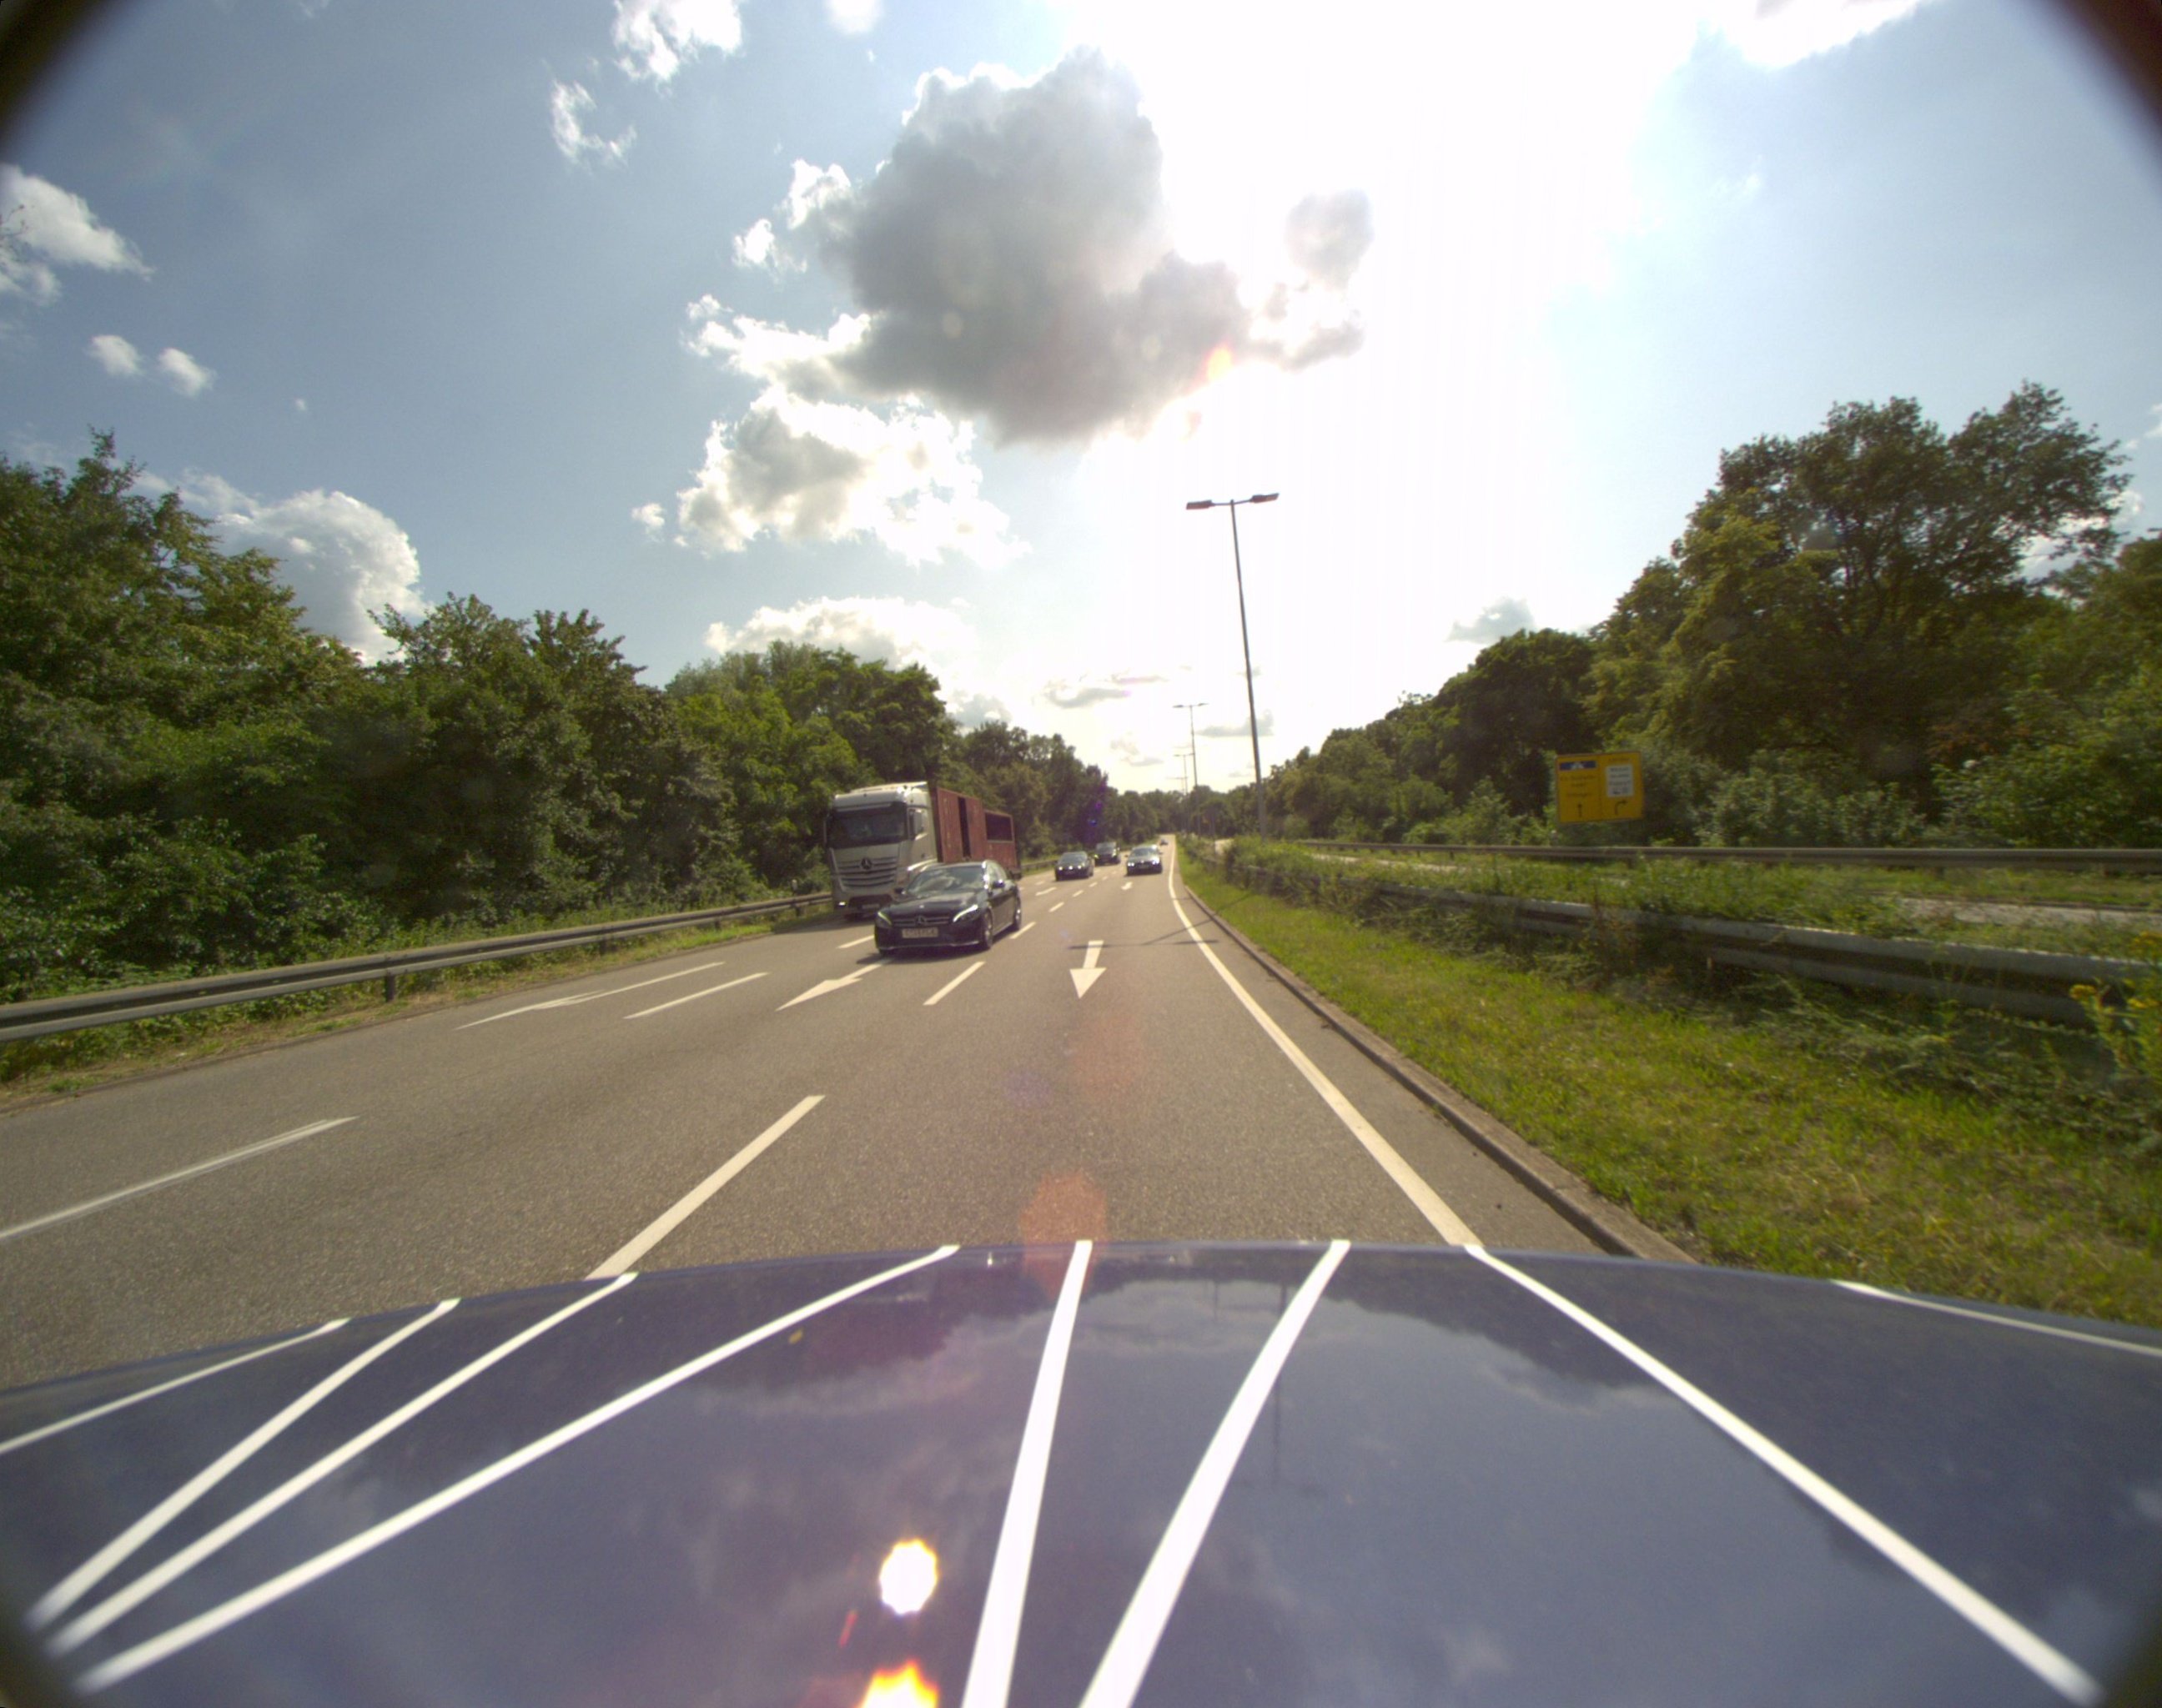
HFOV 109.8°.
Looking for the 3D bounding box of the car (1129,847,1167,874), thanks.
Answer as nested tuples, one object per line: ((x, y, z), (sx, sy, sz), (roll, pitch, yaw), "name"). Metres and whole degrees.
((3.566, 0.325, 40.573), (1.857, 1.354, 4.001), (-2, 0, 5), "car")

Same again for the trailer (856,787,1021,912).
((-5.059, -0.175, 30.529), (2.777, 3.827, 12.326), (-4, 0, 6), "trailer")

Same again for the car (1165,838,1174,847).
((20.851, -2.837, 179.959), (1.976, 2.002, 4.001), (-2, 1, 6), "car")

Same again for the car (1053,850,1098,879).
((-0.245, 0.529, 41.177), (1.857, 1.402, 4.002), (-3, 0, 6), "car")

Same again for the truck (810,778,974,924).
((-5.715, -0.079, 24.379), (2.775, 3.822, 6.822), (-4, 0, 5), "truck")

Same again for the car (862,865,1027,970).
((-2.246, 1.005, 13.780), (1.794, 1.427, 4.371), (-3, 0, 5), "car")

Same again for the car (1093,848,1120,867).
((2.123, 0.250, 62.067), (1.857, 1.402, 4.002), (-3, 0, 6), "car")
